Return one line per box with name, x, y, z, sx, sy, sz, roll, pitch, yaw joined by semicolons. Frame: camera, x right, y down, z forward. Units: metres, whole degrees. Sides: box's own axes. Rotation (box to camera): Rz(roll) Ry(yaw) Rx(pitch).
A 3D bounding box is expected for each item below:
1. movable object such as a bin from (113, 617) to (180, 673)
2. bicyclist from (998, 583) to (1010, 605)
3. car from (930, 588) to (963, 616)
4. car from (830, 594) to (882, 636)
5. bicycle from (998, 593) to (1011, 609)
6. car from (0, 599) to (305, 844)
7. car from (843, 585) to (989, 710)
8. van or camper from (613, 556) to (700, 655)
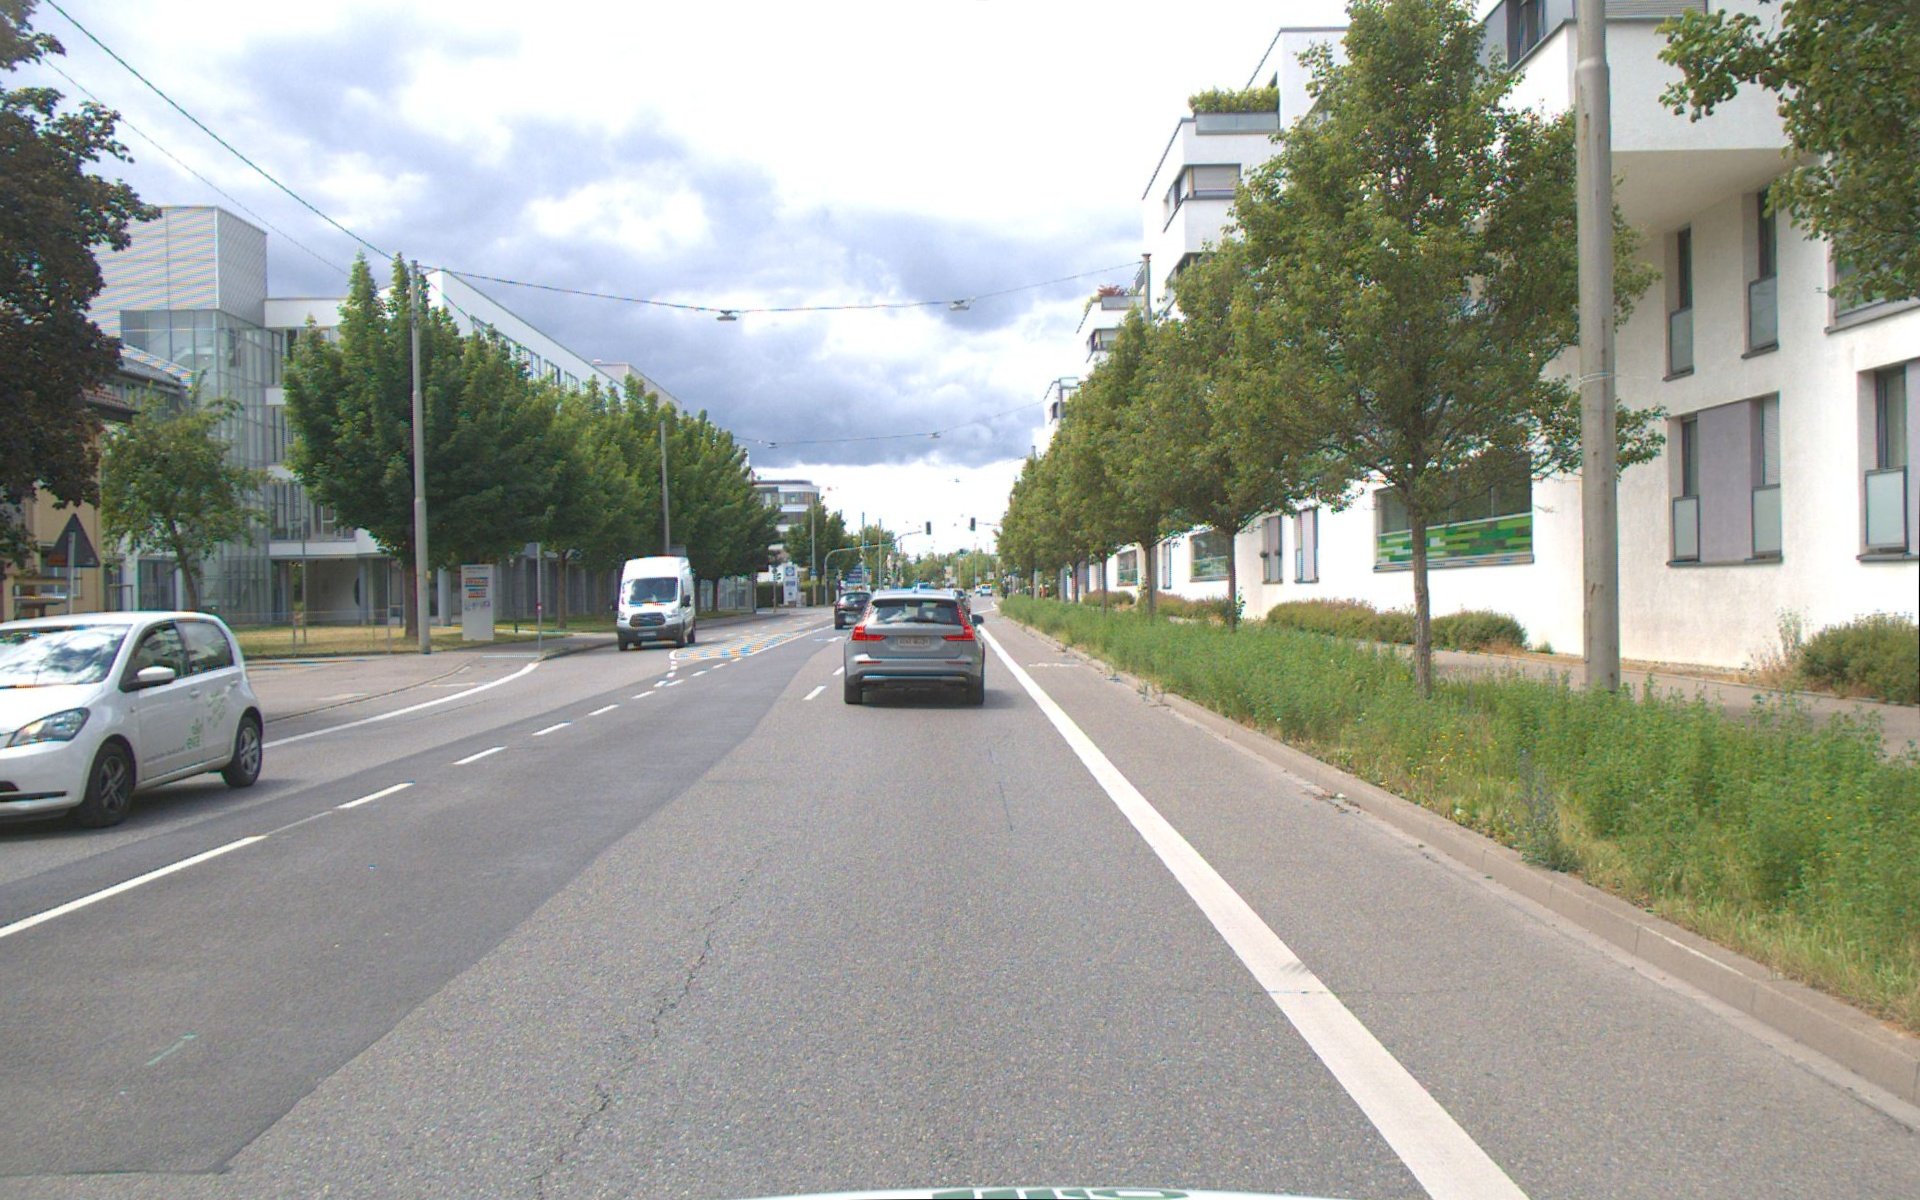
movable object such as a bin;-21.016;1.152;42.764;1.387;1.353;1.414;-3;0;-22
bicyclist;4.172;-0.563;158.132;0.993;2.049;1.131;-2;0;-2
car;-0.810;0.110;95.597;1.807;1.539;3.999;-1;0;-1
car;-4.007;0.571;64.294;1.817;1.539;3.999;-1;0;-1
bicycle;4.211;0.120;158.130;1.045;1.478;2.977;-3;0;-1
car;-6.604;0.794;12.622;1.627;1.542;3.999;-1;0;-1
car;-0.655;0.583;22.500;1.817;1.539;3.997;0;0;-3
van or camper;-9.309;0.149;51.204;1.955;2.781;6.046;-2;0;-5
